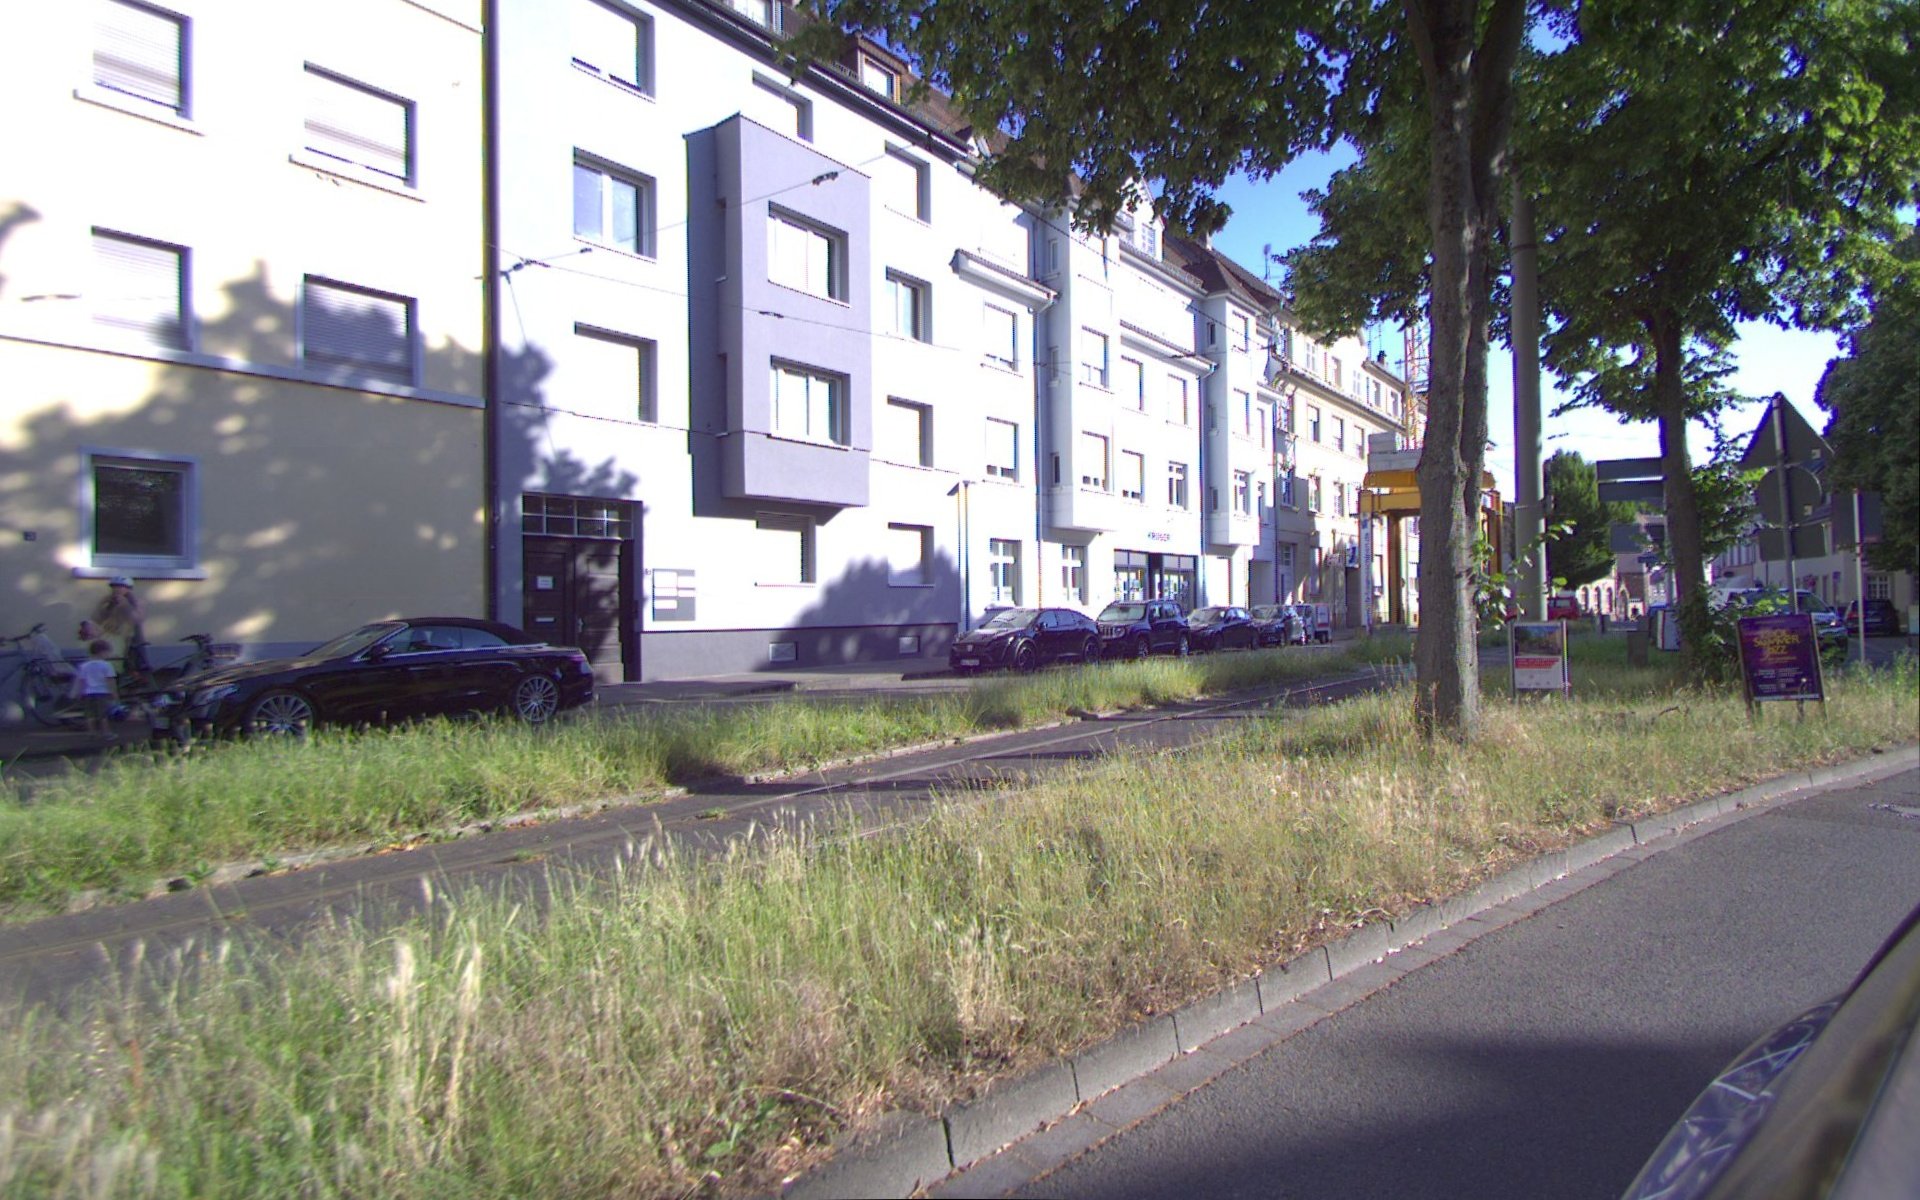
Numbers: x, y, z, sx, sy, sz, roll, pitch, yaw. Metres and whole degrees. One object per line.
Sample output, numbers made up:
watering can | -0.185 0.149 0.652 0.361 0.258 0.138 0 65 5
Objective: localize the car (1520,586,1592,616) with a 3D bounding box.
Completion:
car | 40.709 0.069 69.129 4.047 1.945 1.974 1 0 36

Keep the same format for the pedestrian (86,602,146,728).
pedestrian | -10.092 0.751 12.101 0.522 1.459 0.455 -1 -1 39

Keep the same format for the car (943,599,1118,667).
car | 1.738 0.697 23.525 1.989 1.404 4.386 1 0 37

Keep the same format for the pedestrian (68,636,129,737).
pedestrian | -9.665 0.956 11.355 0.430 1.079 0.455 -1 -1 39

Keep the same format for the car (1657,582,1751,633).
car | 22.875 0.209 31.245 1.984 1.463 4.026 1 0 31

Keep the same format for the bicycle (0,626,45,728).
bicycle | -11.515 0.911 11.570 0.533 1.145 1.495 0 1 37

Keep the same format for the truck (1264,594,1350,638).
truck | 13.592 0.593 39.480 1.989 1.605 4.041 1 0 38

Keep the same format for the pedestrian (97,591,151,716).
pedestrian | -10.479 0.651 12.685 0.303 1.534 0.438 1 0 30

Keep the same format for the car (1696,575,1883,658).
car | 20.618 0.367 25.445 1.974 1.878 4.873 1 0 18

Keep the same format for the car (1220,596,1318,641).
car | 10.872 0.626 35.456 1.989 1.471 4.041 1 0 38

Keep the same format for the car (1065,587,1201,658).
car | 4.786 0.567 27.601 1.989 1.771 4.152 1 0 37

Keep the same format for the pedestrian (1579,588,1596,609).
pedestrian | 61.957 -0.125 99.936 1.344 2.039 1.146 0 0 30

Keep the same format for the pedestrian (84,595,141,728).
pedestrian | -10.038 0.707 11.988 0.330 1.534 0.438 1 0 34

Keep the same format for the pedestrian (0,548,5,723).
pedestrian | -11.616 0.420 11.779 0.610 2.039 0.640 -1 -1 38

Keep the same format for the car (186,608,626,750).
car | -6.648 0.819 12.597 1.989 1.404 4.386 1 0 37

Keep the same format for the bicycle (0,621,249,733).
bicycle | -10.030 0.871 12.257 0.533 1.145 2.277 0 1 37

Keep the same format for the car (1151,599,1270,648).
car | 7.871 0.707 31.557 1.991 1.404 4.148 1 0 40

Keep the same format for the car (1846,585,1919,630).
car | 39.711 0.311 43.640 1.989 1.817 3.945 -2 -1 38
